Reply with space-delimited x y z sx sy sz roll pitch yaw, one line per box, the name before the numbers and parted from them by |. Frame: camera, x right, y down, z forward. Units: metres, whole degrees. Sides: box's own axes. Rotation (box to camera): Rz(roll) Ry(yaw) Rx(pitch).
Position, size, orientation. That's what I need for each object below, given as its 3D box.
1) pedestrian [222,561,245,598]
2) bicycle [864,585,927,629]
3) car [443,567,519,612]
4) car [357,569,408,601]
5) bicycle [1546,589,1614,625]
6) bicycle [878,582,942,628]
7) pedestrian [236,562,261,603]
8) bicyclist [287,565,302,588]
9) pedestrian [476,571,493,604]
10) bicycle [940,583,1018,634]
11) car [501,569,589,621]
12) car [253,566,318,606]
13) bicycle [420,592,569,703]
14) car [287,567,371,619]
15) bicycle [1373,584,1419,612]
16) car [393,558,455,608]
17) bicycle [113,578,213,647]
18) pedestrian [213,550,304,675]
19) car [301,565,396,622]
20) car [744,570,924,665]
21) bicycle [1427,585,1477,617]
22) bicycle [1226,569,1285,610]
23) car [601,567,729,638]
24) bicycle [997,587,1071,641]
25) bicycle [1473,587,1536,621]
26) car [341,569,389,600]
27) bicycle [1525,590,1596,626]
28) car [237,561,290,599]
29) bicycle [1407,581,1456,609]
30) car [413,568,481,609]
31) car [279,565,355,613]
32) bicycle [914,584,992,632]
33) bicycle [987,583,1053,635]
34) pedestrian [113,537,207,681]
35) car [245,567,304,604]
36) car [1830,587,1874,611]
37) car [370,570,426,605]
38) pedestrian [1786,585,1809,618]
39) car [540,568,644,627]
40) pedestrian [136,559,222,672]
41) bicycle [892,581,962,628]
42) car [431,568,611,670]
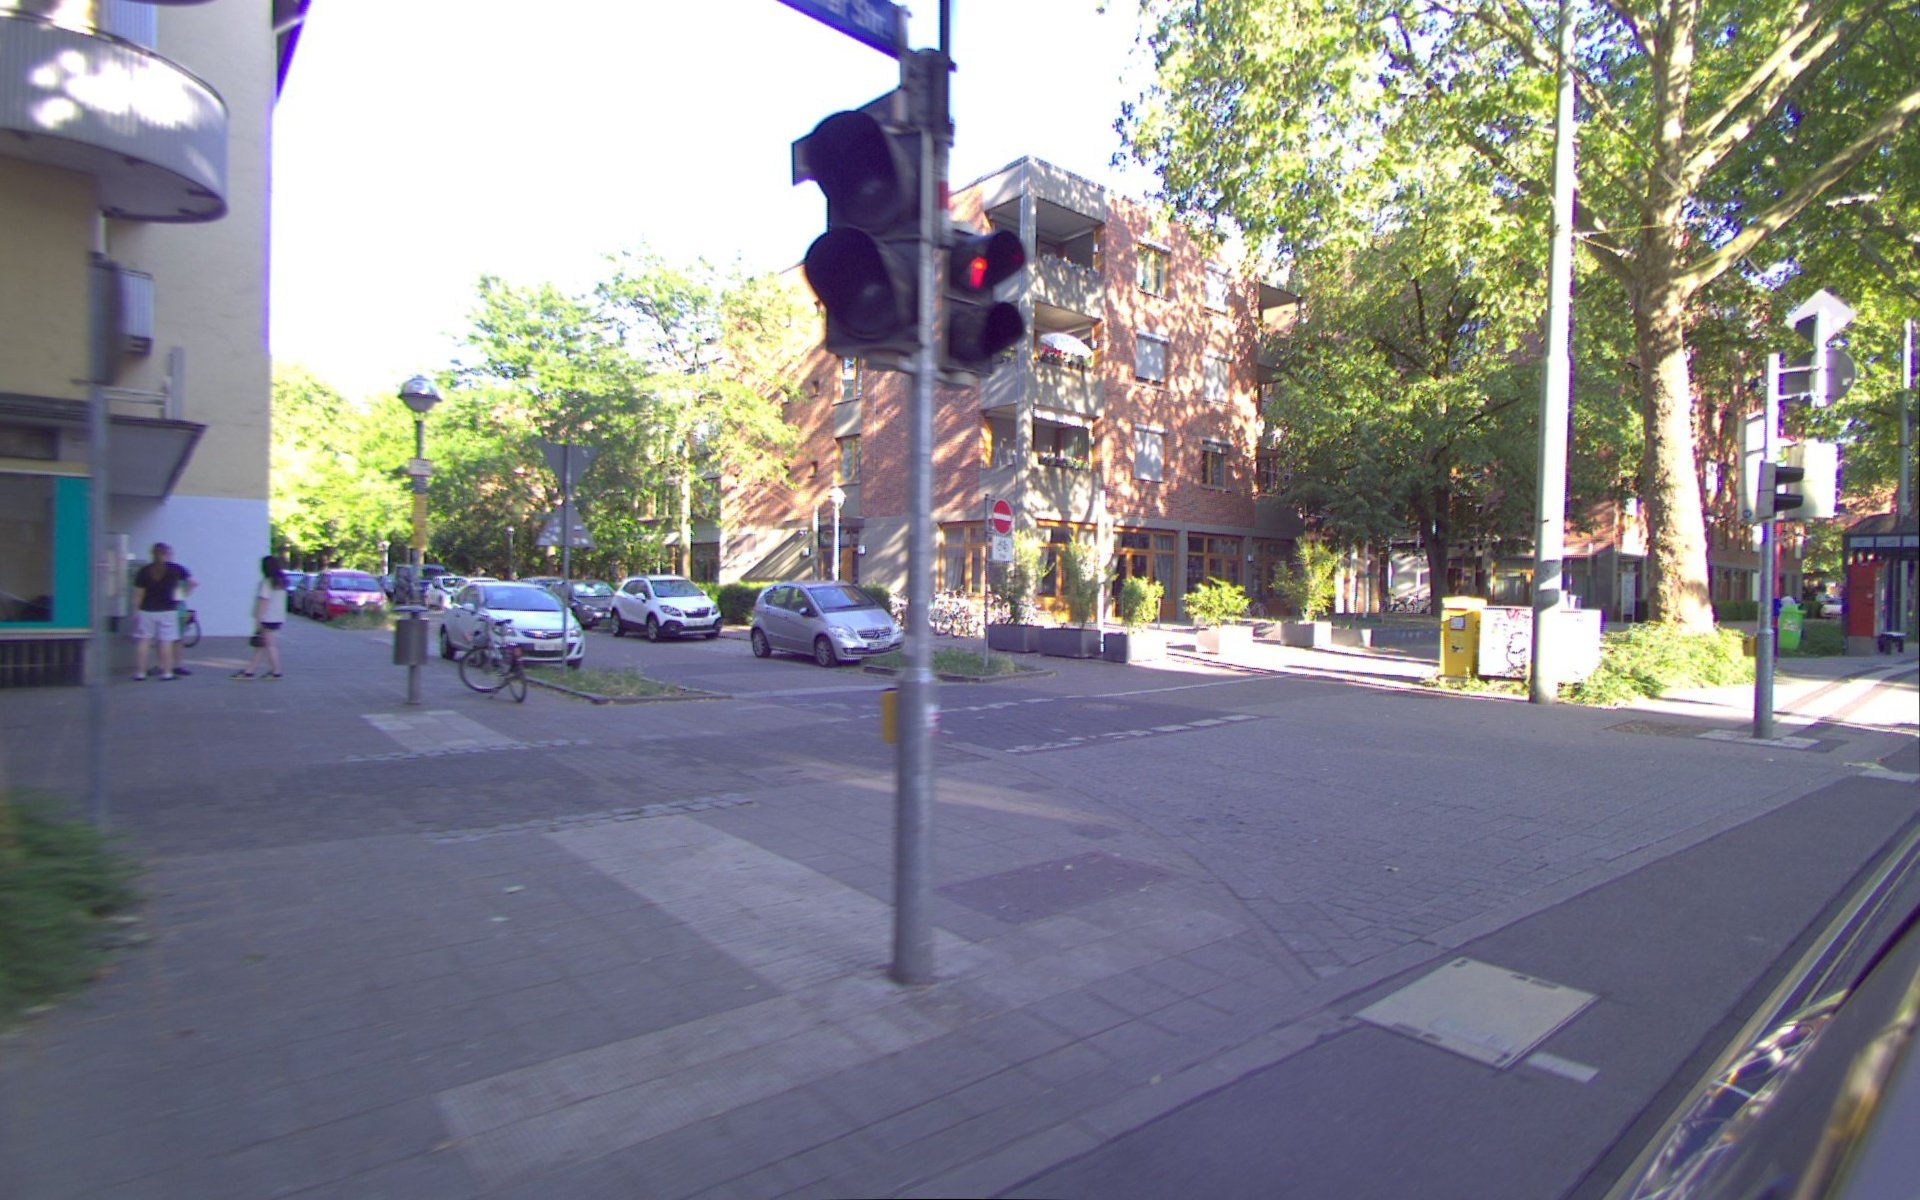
pedestrian | -31.588 -0.887 43.996 0.770 1.605 0.679 1 1 44
bicycle | -1.781 0.182 28.065 1.668 1.171 0.662 0 3 -41
car | -19.246 -0.448 40.601 1.833 1.714 3.870 0 1 -40
car | -32.024 -0.842 56.062 1.833 1.714 3.870 0 1 -40
bicycle | 22.075 0.242 36.075 0.560 1.171 2.041 1 3 -29
bicycle | -1.348 0.118 27.476 1.668 1.171 0.662 0 3 -41
pedestrian | -27.789 -0.691 39.536 0.770 1.605 0.679 1 1 44
bicyclist | -38.808 -1.370 58.989 0.640 1.361 0.697 0 1 -41
pedestrian | -23.692 -0.626 50.383 0.643 1.605 0.772 0 1 -35
bicycle | 0.480 0.197 24.964 1.946 1.171 0.638 0 3 -38
car | -14.810 -0.219 36.021 1.833 1.714 3.870 0 1 -40
car | -28.854 -0.610 43.252 1.832 1.572 3.870 3 -1 -40
bicycle | -5.680 0.538 12.329 1.781 1.171 0.738 3 2 29
car | -21.182 -0.251 33.907 1.832 1.572 3.870 3 -1 -40
bicycle | 18.660 -0.079 43.285 1.997 1.171 0.709 0 2 -31
car | -25.501 -0.844 48.065 1.833 2.260 3.870 0 1 -40
bicycle | -14.755 0.213 18.734 1.674 1.171 0.599 3 2 16
pedestrian | -9.065 0.146 13.093 0.677 1.558 0.703 1 1 1
car | -18.605 -0.219 30.711 1.832 1.572 3.870 3 -1 -40
car | -2.651 0.278 20.655 1.833 1.714 3.870 0 1 -40
bicycle | 19.209 0.038 39.536 0.561 1.171 1.684 0 3 -34
bicycle | 8.994 -0.330 30.837 0.560 1.171 1.939 1 2 -24
car | -7.842 0.004 26.701 1.833 1.714 3.870 0 1 -40
bicycle | 1.676 0.304 22.898 1.666 1.171 0.602 0 3 -37
bicycle | 20.421 0.126 37.985 0.561 1.171 2.039 0 3 -34
car | -35.112 -0.931 59.646 1.833 1.714 3.870 0 1 -40
bicycle | 21.209 0.266 35.769 0.562 1.171 2.036 0 3 -39
car | -36.151 -1.059 52.495 1.832 1.830 3.870 3 -1 -40
bicycle | 20.919 -0.225 44.962 1.930 1.171 0.727 3 2 25
car | -22.517 -0.517 44.381 1.833 1.714 3.870 0 1 -40
car | -23.658 -0.422 37.188 1.832 1.572 3.870 3 -1 -40
bicycle | -0.167 0.194 26.114 2.015 1.171 0.732 0 3 -40
bicycle | 1.447 0.201 24.149 1.670 1.171 0.600 -1 3 -45
pedestrian | -9.780 0.097 12.381 0.695 1.703 0.656 1 1 23
car | -31.907 -0.703 47.052 1.832 1.572 3.870 3 -1 -40
car | 59.651 -0.076 67.673 3.891 1.527 1.657 0 1 -40
car | -28.715 -0.669 51.656 1.833 1.714 3.870 0 1 -40
pedestrian | 44.127 0.070 53.326 0.901 1.680 0.768 0 1 -40
car | -11.486 -0.118 31.448 1.833 1.714 3.870 0 1 -40
pedestrian | -10.330 0.179 13.380 0.839 1.432 0.757 2 1 42
bicycle | -0.865 0.099 26.762 1.819 1.171 0.662 0 3 -41
car | -7.815 0.282 17.832 1.832 1.572 3.870 3 -1 -40
